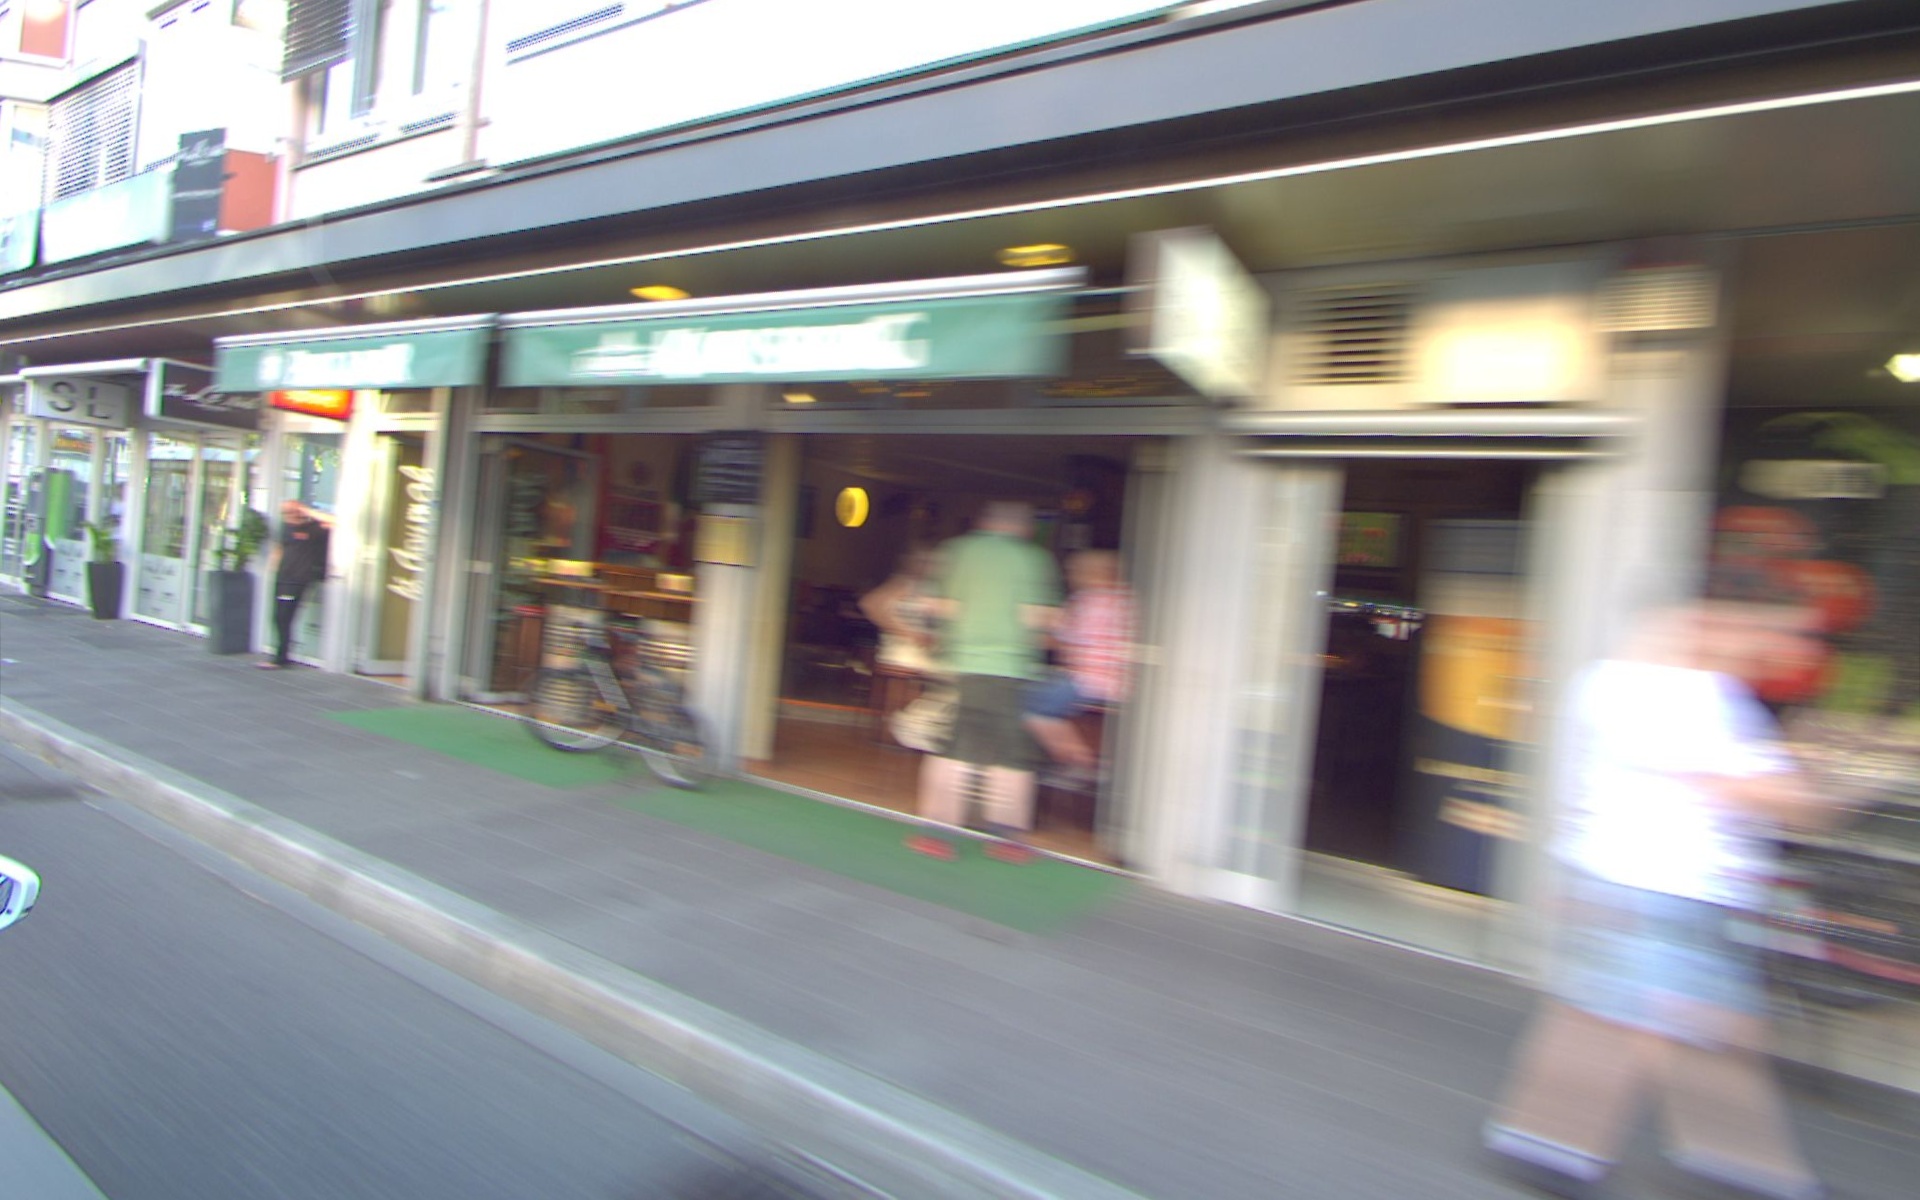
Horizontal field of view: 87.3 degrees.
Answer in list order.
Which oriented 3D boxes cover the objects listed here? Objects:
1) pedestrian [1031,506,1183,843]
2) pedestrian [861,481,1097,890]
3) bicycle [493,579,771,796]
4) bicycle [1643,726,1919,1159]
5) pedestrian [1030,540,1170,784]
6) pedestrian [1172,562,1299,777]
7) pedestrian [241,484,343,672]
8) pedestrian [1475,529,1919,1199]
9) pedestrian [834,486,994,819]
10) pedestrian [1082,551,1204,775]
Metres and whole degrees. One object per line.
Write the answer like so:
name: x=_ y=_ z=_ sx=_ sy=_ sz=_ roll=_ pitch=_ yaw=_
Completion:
pedestrian: x=0.871 y=0.428 z=6.180 sx=0.674 sy=1.891 sz=0.779 roll=5 pitch=2 yaw=1
pedestrian: x=0.118 y=0.388 z=5.253 sx=0.766 sy=1.892 sz=0.914 roll=6 pitch=4 yaw=29
bicycle: x=-2.098 y=0.477 z=6.336 sx=1.765 sy=1.082 sz=0.657 roll=6 pitch=5 yaw=32
bicycle: x=3.139 y=1.138 z=3.943 sx=0.567 sy=1.074 sz=1.925 roll=6 pitch=2 yaw=31
pedestrian: x=1.170 y=0.490 z=8.397 sx=0.737 sy=1.891 sz=0.776 roll=6 pitch=2 yaw=35
pedestrian: x=2.577 y=0.627 z=9.418 sx=0.773 sy=1.891 sz=0.680 roll=3 pitch=3 yaw=-40
pedestrian: x=-6.268 y=-0.199 z=9.448 sx=0.460 sy=1.695 sz=0.542 roll=6 pitch=2 yaw=23
pedestrian: x=1.860 y=0.714 z=2.584 sx=0.758 sy=1.695 sz=0.632 roll=6 pitch=2 yaw=32
pedestrian: x=-0.263 y=0.302 z=6.263 sx=0.674 sy=1.891 sz=0.779 roll=5 pitch=2 yaw=12
pedestrian: x=1.668 y=0.548 z=9.135 sx=0.676 sy=1.891 sz=0.776 roll=6 pitch=2 yaw=35
